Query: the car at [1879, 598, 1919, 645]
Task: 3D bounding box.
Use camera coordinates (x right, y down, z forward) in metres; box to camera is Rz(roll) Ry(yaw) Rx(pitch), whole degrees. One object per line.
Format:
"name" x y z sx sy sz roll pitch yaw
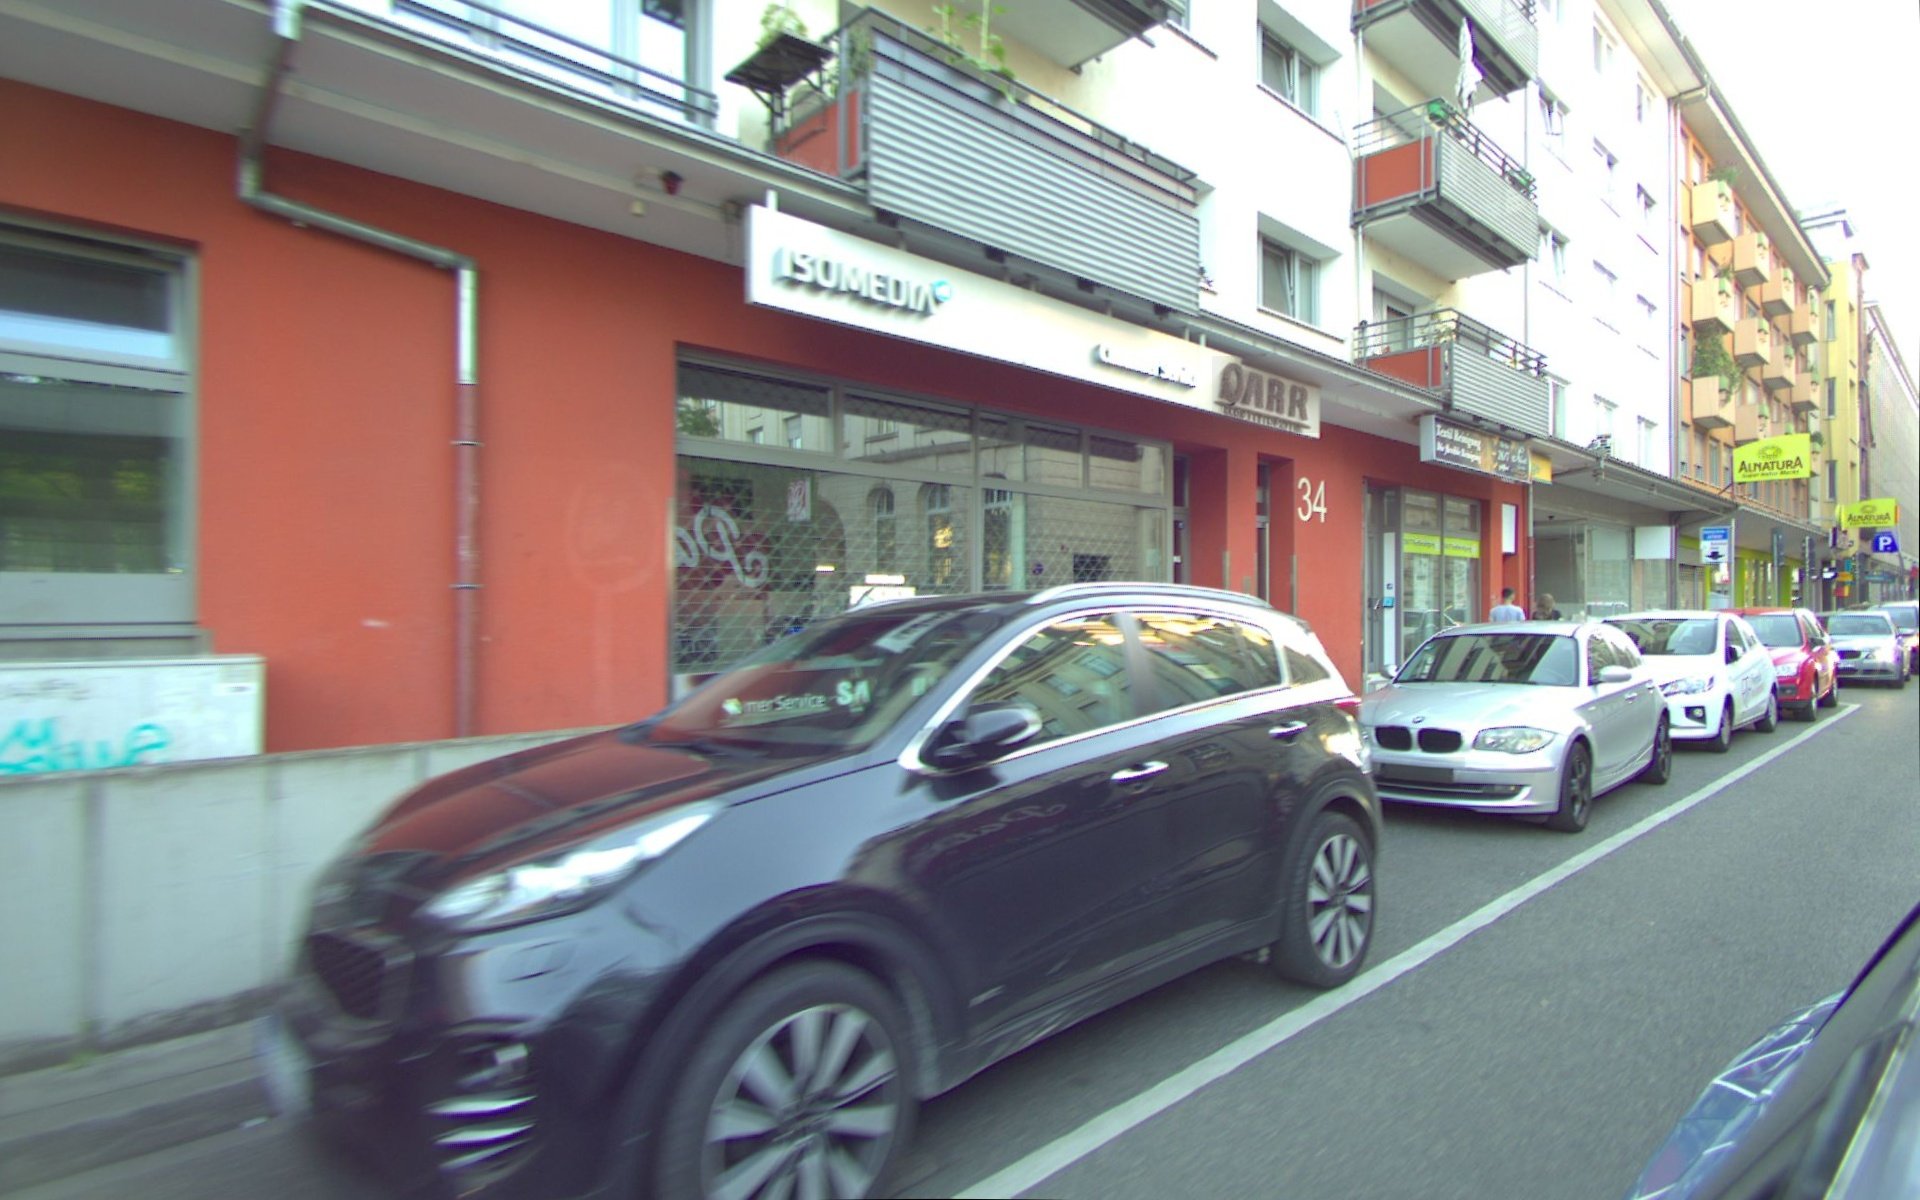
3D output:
"car" 31.575 0.689 33.133 4.674 1.433 1.693 1 -3 -42

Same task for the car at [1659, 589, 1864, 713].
"car" 11.791 0.691 14.773 4.574 1.532 1.713 1 -3 -44

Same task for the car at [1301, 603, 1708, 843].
"car" 4.694 0.809 8.389 4.385 1.471 1.699 1 -3 -44

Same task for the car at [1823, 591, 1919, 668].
"car" 21.631 0.659 23.287 4.404 1.631 1.798 0 -3 -38

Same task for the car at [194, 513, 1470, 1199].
"car" 0.084 0.741 3.903 4.708 1.663 1.766 1 -3 -42

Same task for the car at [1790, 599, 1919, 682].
"car" 17.691 0.763 19.765 4.604 1.434 1.737 1 -3 -44

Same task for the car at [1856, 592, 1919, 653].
"car" 27.968 0.659 29.840 4.674 1.690 1.754 1 -3 -42

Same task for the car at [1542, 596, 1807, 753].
"car" 8.443 0.778 11.831 3.977 1.532 1.608 1 -3 -41

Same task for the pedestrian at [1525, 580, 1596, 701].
"pedestrian" 8.713 0.561 14.676 0.643 1.682 0.649 1 2 -40

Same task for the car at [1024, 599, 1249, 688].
"car" 3.125 0.688 17.559 3.929 1.353 1.743 1 0 -40

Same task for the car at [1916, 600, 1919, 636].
"car" 40.758 0.724 41.816 1.691 1.429 4.563 -4 -3 45

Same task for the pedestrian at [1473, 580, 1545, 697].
"pedestrian" 8.220 0.555 15.157 0.780 1.682 0.649 1 2 -40
